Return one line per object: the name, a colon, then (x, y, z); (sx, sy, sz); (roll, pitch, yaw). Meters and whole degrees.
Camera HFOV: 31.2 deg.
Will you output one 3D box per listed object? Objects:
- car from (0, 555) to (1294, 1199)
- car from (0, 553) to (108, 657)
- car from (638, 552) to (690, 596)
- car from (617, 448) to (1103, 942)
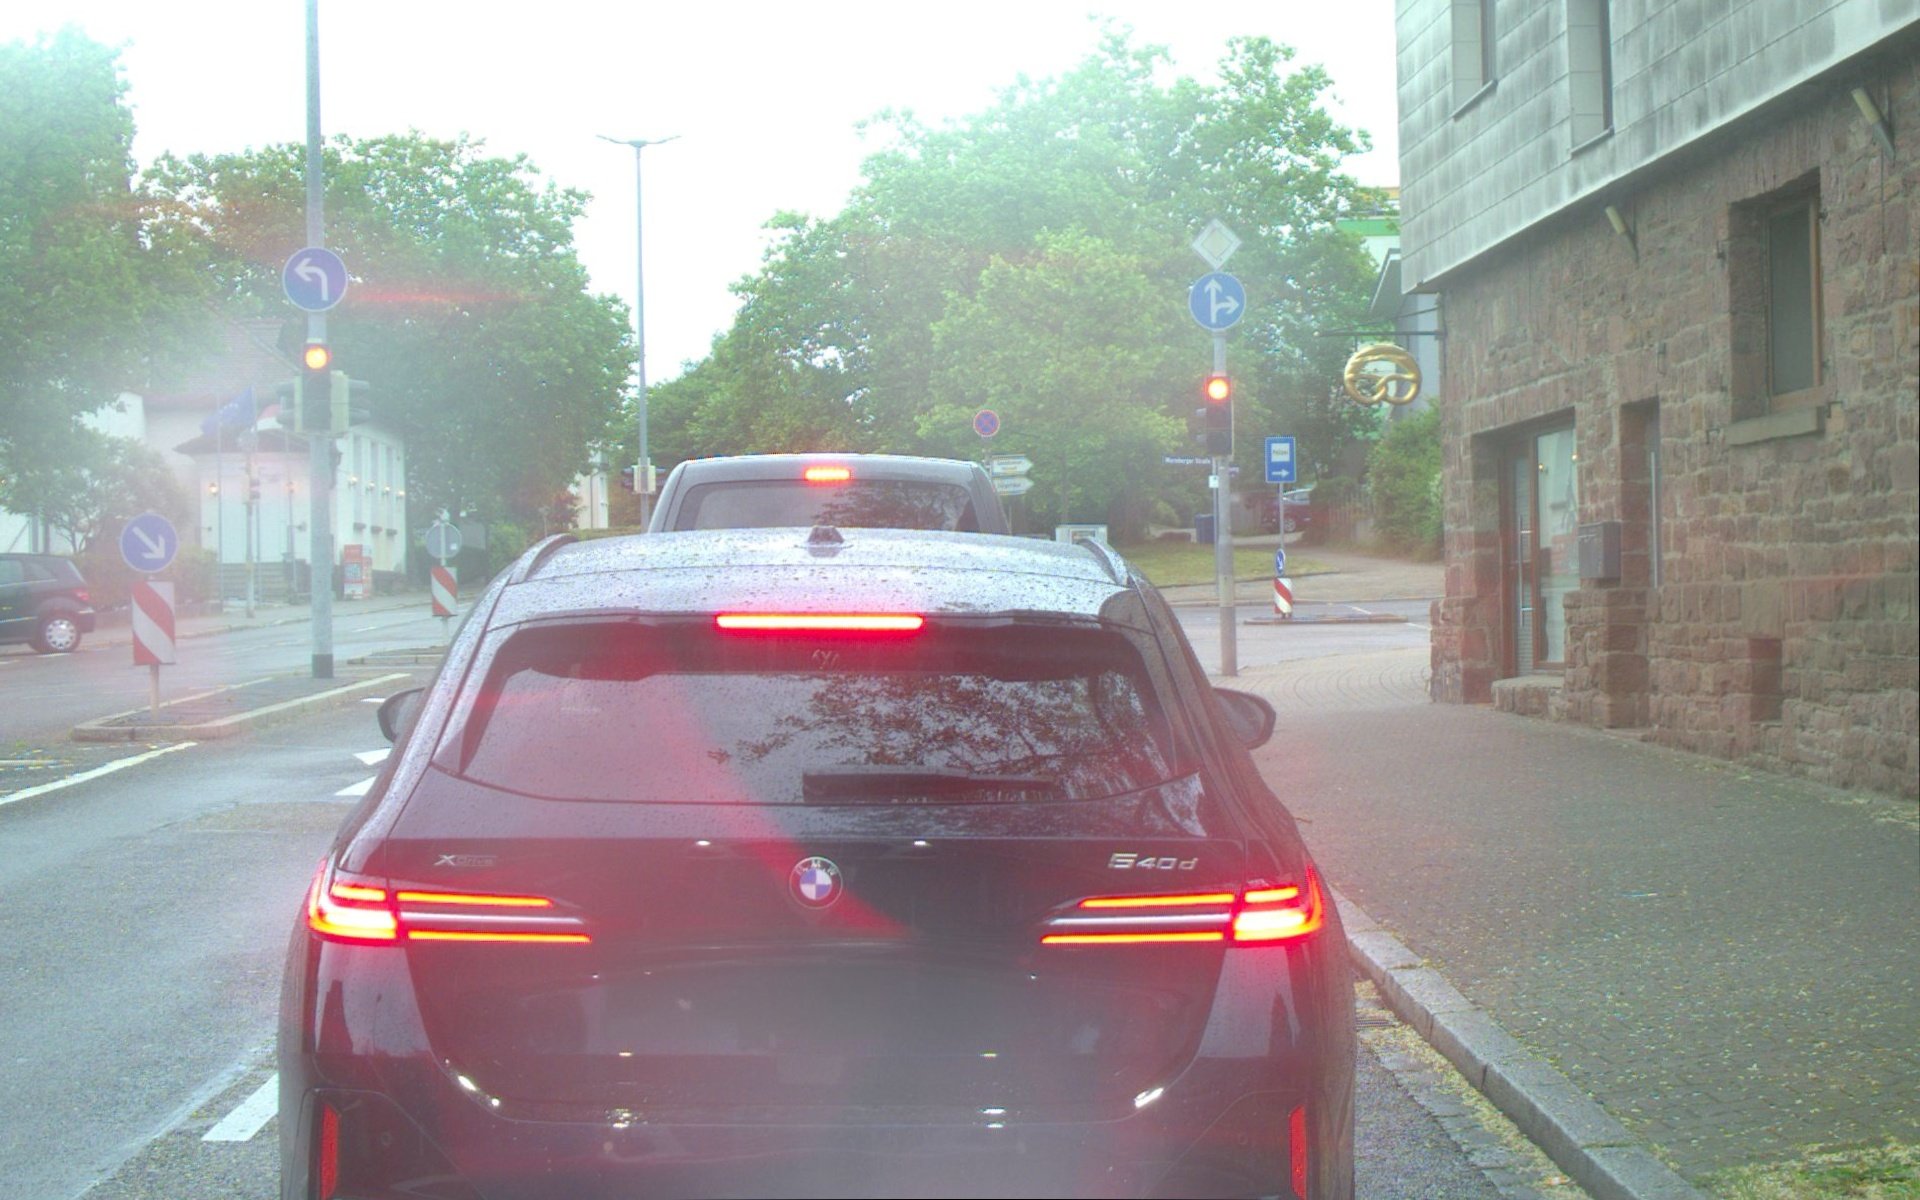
car: (-0.653, 0.640, 7.385); (2.064, 1.441, 4.484); (0, 1, -3)
car: (-15.627, 0.058, 53.394); (4.467, 1.581, 2.072); (0, 1, -19)
car: (-9.702, -0.858, 112.881); (1.464, 1.393, 3.322); (0, 1, -1)
car: (-0.461, 0.302, 14.687); (1.783, 1.811, 4.001); (0, 1, -3)
